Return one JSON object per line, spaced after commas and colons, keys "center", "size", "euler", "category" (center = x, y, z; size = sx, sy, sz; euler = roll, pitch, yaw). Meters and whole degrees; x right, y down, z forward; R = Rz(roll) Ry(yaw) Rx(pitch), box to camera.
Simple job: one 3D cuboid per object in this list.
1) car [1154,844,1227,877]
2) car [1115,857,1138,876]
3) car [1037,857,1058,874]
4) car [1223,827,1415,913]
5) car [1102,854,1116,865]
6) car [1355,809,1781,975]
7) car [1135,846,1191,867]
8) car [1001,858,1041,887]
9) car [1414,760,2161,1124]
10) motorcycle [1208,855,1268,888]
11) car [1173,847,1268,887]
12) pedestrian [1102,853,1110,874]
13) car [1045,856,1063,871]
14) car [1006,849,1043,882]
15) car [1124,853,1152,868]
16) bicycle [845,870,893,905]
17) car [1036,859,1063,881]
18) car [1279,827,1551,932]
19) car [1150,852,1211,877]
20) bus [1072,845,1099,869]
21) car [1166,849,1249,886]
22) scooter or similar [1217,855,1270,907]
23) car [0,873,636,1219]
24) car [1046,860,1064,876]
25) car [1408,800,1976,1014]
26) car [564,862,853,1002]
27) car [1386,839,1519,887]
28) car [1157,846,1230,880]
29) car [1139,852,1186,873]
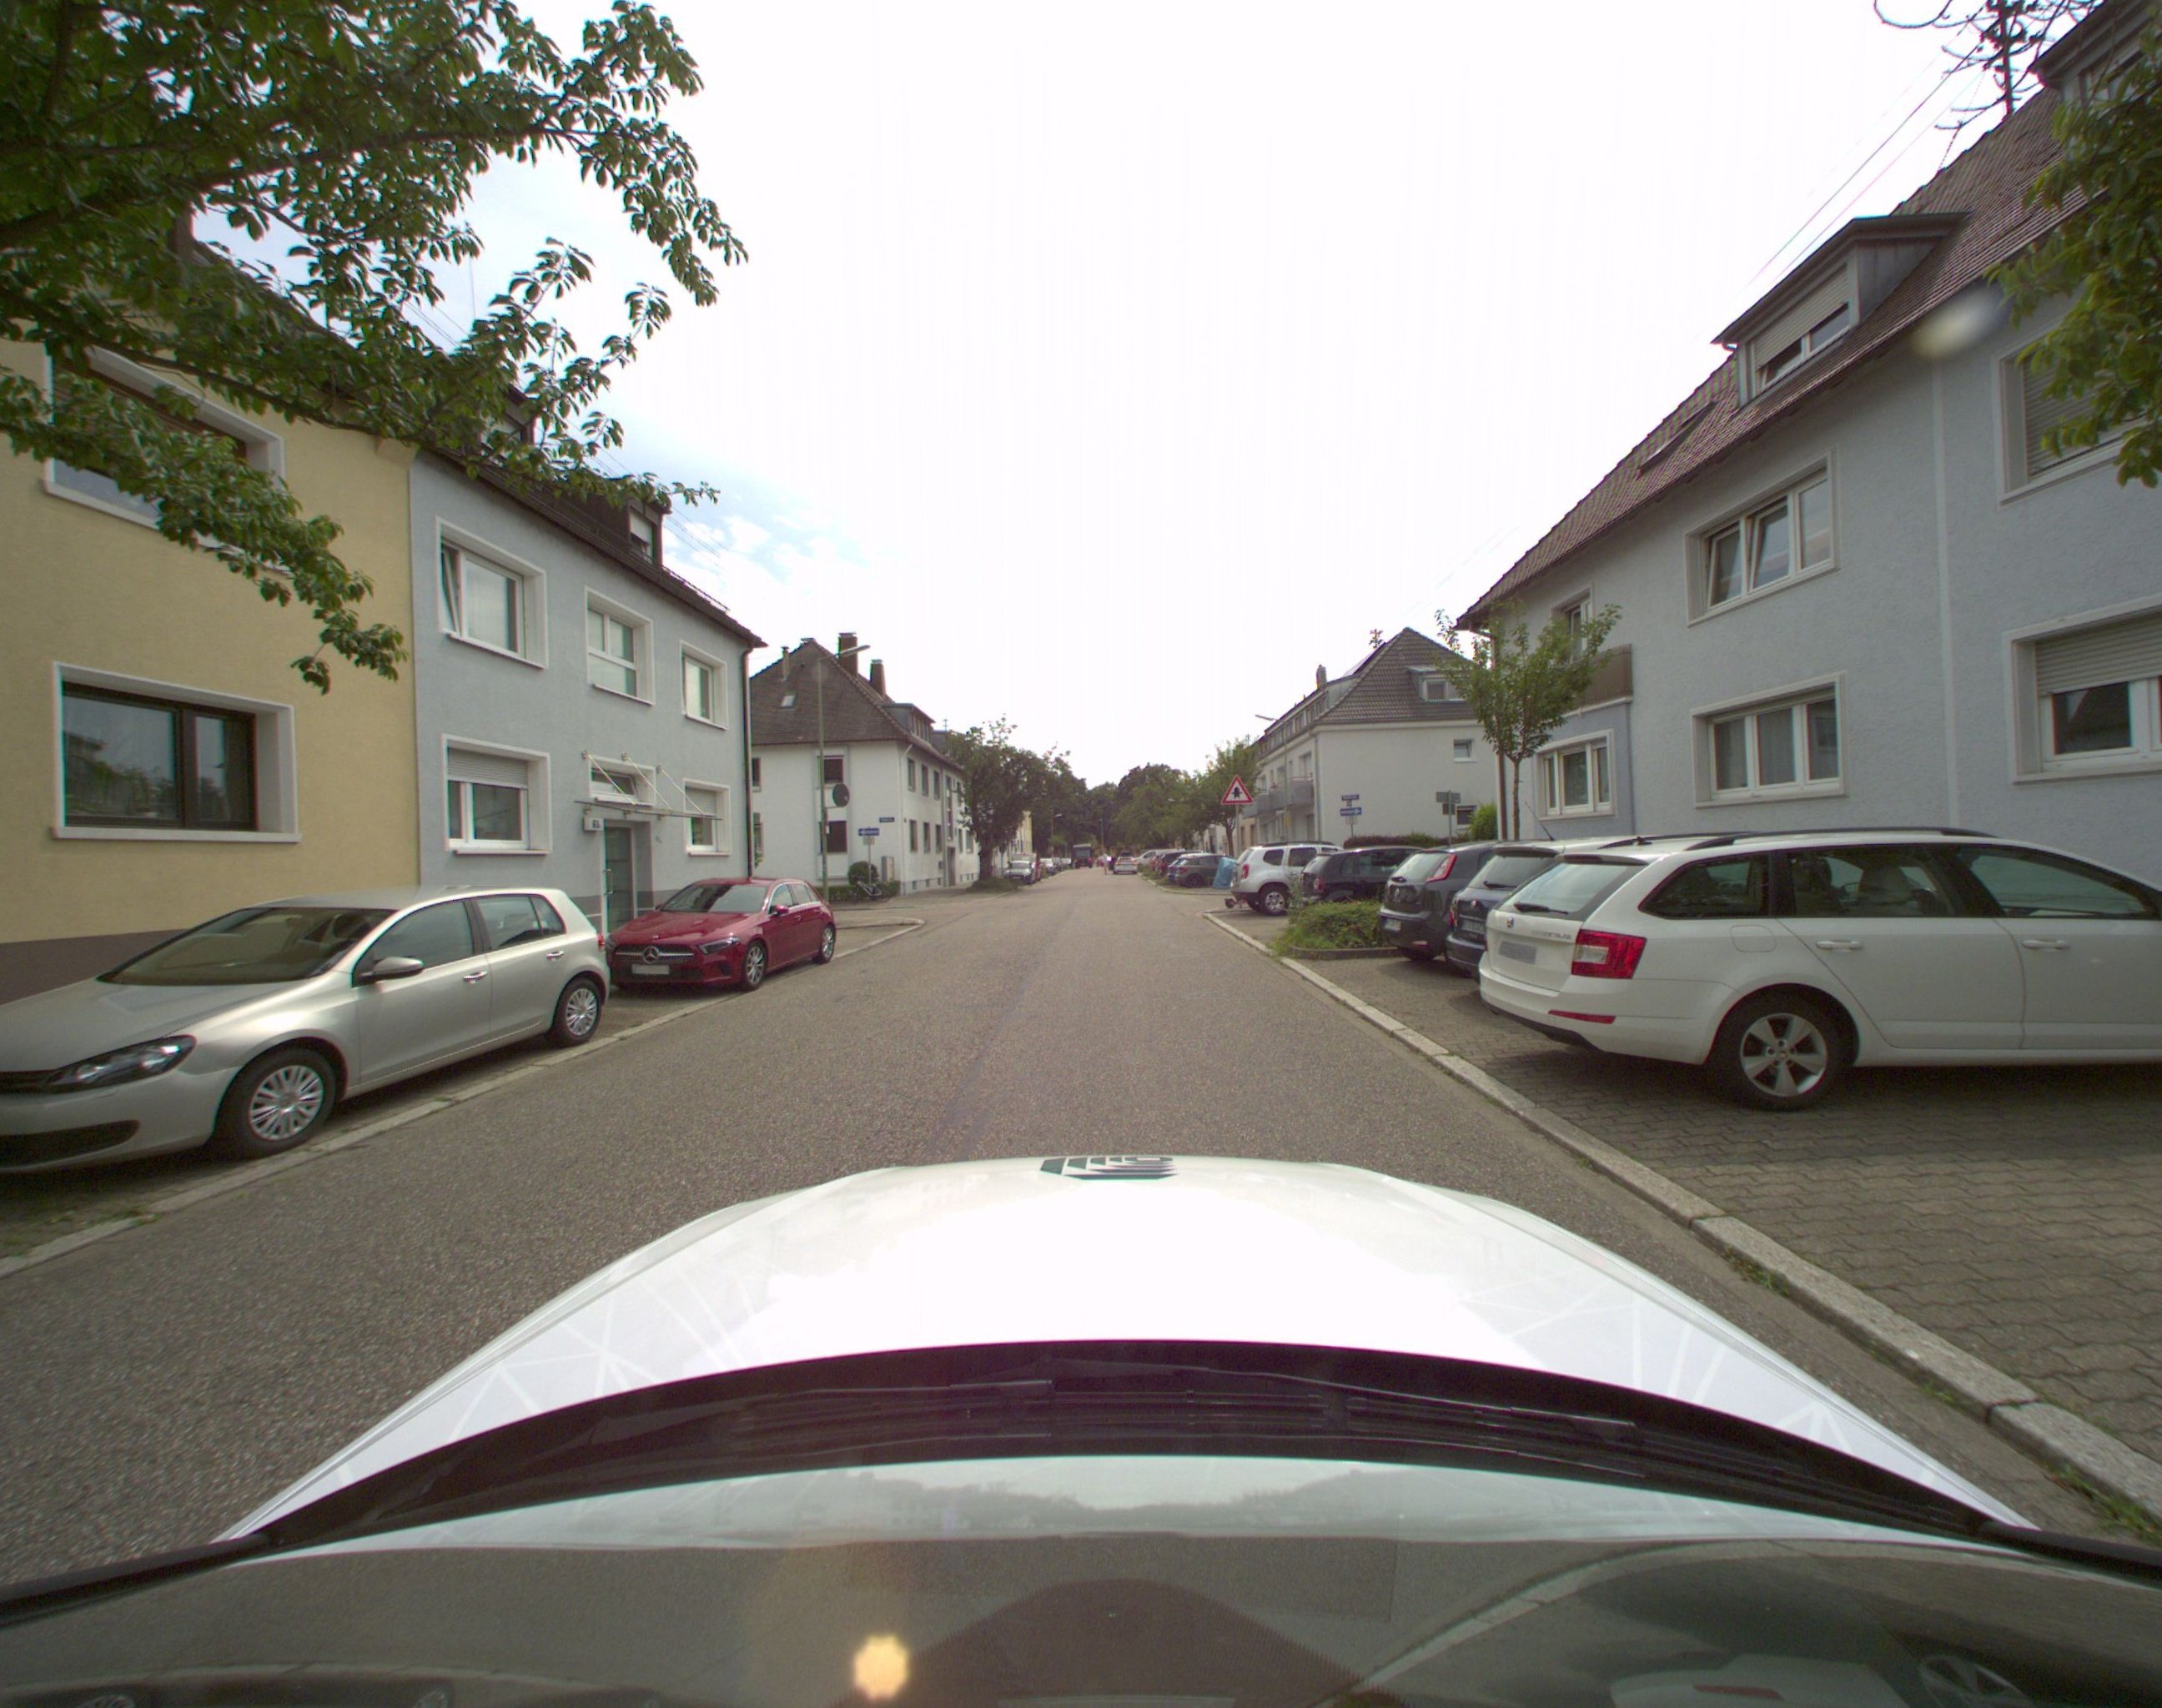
{"center": [6.340, 0.381, 47.400], "size": [3.971, 1.618, 1.868], "euler": [-4, 0, 2], "category": "car"}
{"center": [3.745, 1.002, 66.864], "size": [1.680, 1.354, 3.830], "euler": [-4, 0, 3], "category": "car"}
{"center": [-2.952, 0.995, 72.918], "size": [1.646, 1.377, 3.720], "euler": [-4, 0, 0], "category": "car"}
{"center": [5.452, 0.366, 19.084], "size": [3.908, 1.633, 1.869], "euler": [-4, 0, 2], "category": "car"}
{"center": [3.848, 0.785, 112.168], "size": [1.747, 1.342, 4.003], "euler": [-3, 0, 3], "category": "car"}
{"center": [5.576, 0.419, 9.718], "size": [3.972, 1.508, 1.713], "euler": [-4, 0, 2], "category": "car"}
{"center": [7.531, 0.246, 75.082], "size": [4.959, 1.518, 1.768], "euler": [-4, 0, 0], "category": "car"}
{"center": [-3.607, 1.083, 49.655], "size": [1.755, 1.554, 3.736], "euler": [-4, 0, 5], "category": "car"}
{"center": [4.820, 0.411, 5.133], "size": [4.596, 1.664, 1.894], "euler": [-4, 0, 2], "category": "car"}
{"center": [6.199, 0.674, 32.261], "size": [2.186, 1.210, 0.940], "euler": [-2, 0, 0], "category": "motorcycle"}
{"center": [5.882, 0.539, 34.627], "size": [3.732, 1.365, 1.774], "euler": [-4, 0, 2], "category": "car"}
{"center": [2.014, 0.768, 66.161], "size": [0.519, 1.704, 0.445], "euler": [-4, -1, 5], "category": "pedestrian"}
{"center": [-2.880, 1.015, 87.009], "size": [1.645, 1.377, 3.723], "euler": [-4, 0, 1], "category": "car"}
{"center": [-3.813, 0.762, 55.366], "size": [1.986, 2.013, 4.522], "euler": [-2, 0, 2], "category": "car"}
{"center": [7.256, 0.811, 104.115], "size": [3.515, 1.602, 1.774], "euler": [-4, 0, 2], "category": "car"}
{"center": [-8.063, 1.263, 31.028], "size": [1.629, 1.179, 0.435], "euler": [-4, -1, -3], "category": "bicycle"}
{"center": [-2.323, 1.209, 61.175], "size": [1.645, 1.461, 3.553], "euler": [-4, 0, 1], "category": "car"}
{"center": [5.668, 0.421, 14.190], "size": [3.972, 1.421, 1.713], "euler": [-4, 0, 2], "category": "car"}
{"center": [6.826, 0.723, 56.046], "size": [3.972, 1.438, 1.723], "euler": [-4, 0, 1], "category": "car"}
{"center": [0.673, 0.418, 107.028], "size": [2.992, 2.761, 8.931], "euler": [-4, 0, 3], "category": "bus"}
{"center": [5.746, 0.600, 37.325], "size": [3.504, 1.412, 1.559], "euler": [-4, 0, 2], "category": "car"}
{"center": [4.278, 0.701, 21.452], "size": [1.239, 1.243, 0.420], "euler": [-4, -1, -11], "category": "scooter or similar"}
{"center": [-5.414, 0.932, 5.907], "size": [1.764, 1.392, 4.278], "euler": [3, 0, 3], "category": "car"}
{"center": [-2.459, 1.330, 77.969], "size": [1.534, 1.301, 3.721], "euler": [-4, 0, 0], "category": "car"}
{"center": [5.456, 0.456, 7.695], "size": [3.972, 1.508, 1.713], "euler": [-4, 0, 2], "category": "car"}
{"center": [-5.006, 0.938, 11.802], "size": [1.870, 1.486, 4.514], "euler": [-4, 0, 2], "category": "car"}
{"center": [12.711, 0.315, 28.002], "size": [3.787, 1.443, 1.664], "euler": [-2, 0, 2], "category": "car"}
{"center": [6.178, 0.470, 45.017], "size": [3.732, 1.564, 1.774], "euler": [-4, 0, 2], "category": "car"}
{"center": [7.226, 0.736, 72.718], "size": [3.972, 1.518, 1.723], "euler": [-4, 0, 1], "category": "car"}
